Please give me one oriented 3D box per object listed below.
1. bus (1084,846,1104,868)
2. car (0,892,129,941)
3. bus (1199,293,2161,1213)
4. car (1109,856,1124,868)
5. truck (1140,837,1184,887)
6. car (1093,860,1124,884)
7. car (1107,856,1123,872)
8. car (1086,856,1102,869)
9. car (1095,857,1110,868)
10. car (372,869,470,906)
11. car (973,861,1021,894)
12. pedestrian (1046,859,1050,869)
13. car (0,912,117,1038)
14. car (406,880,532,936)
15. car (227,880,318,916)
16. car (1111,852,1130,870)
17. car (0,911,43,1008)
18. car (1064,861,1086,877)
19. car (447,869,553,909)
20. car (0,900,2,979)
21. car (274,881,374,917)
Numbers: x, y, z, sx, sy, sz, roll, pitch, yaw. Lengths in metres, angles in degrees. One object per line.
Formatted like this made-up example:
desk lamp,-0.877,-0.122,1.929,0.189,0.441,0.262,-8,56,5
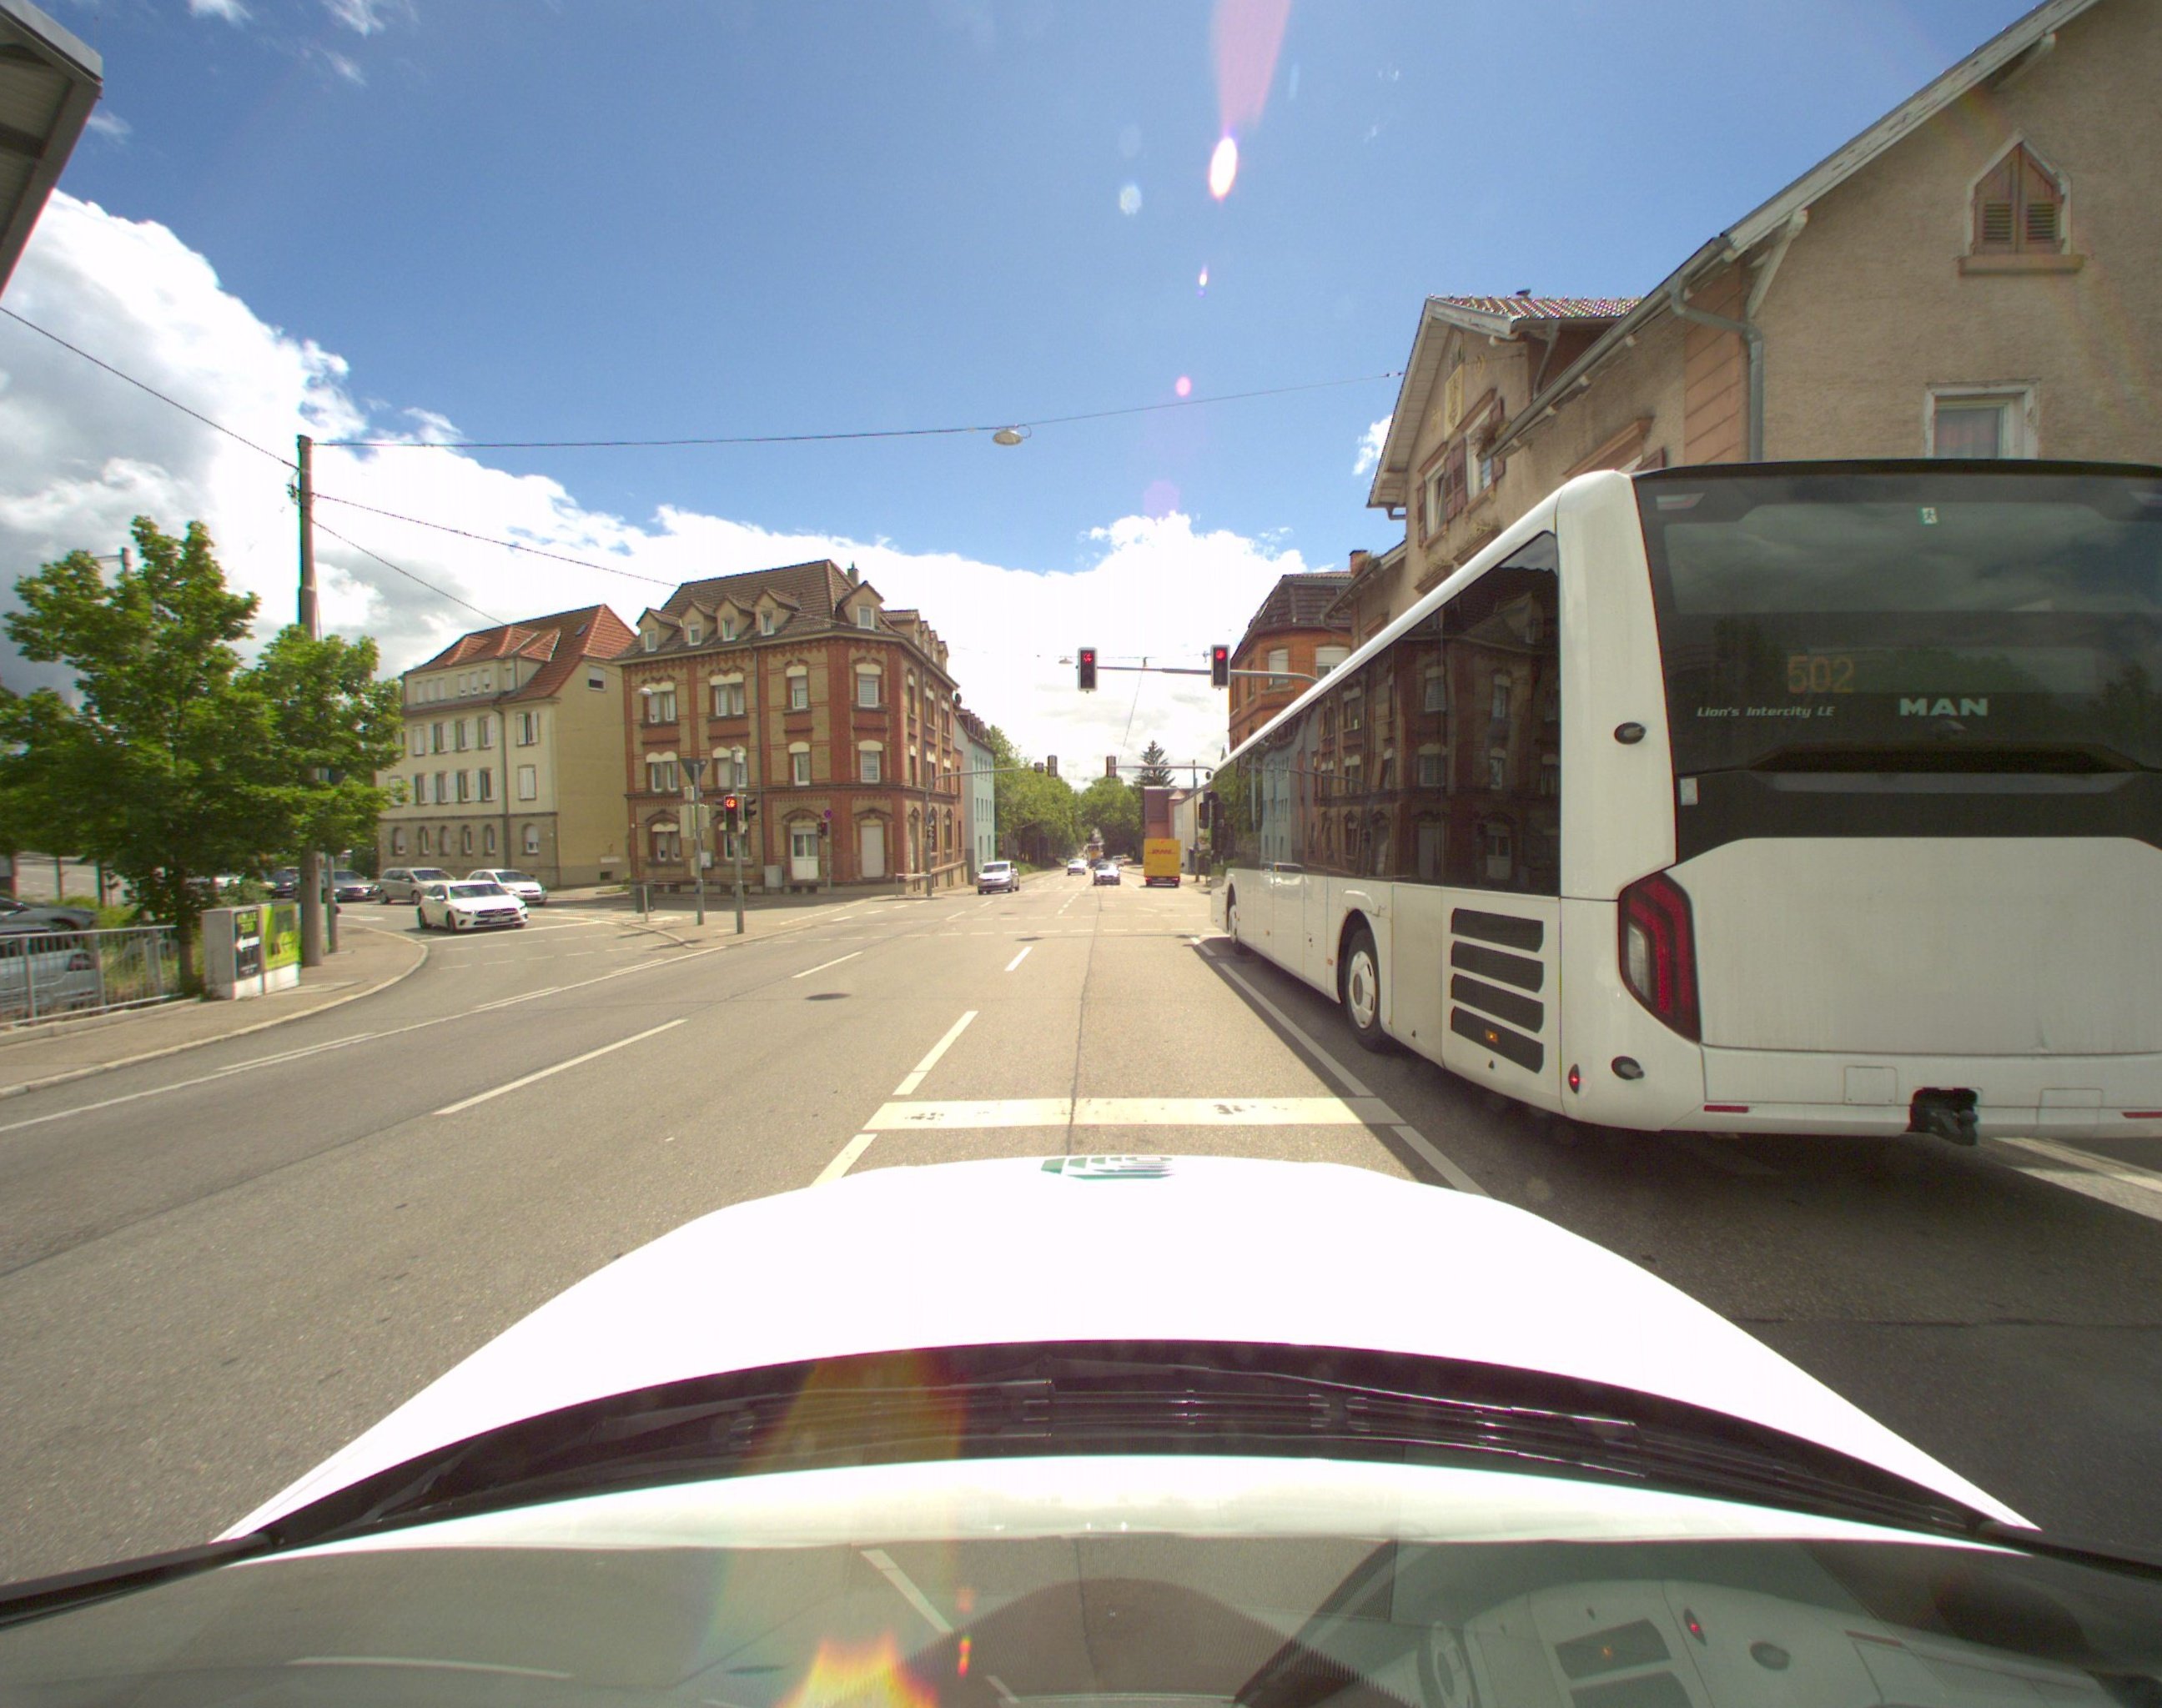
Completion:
bus,2.293,0.556,148.217,3.290,3.631,11.241,-2,0,0
car,-29.257,1.731,22.218,1.795,1.186,4.025,-1,0,31
bus,3.517,-0.343,9.357,2.893,3.510,12.492,0,-1,2
car,5.634,1.259,129.604,2.086,1.830,4.140,-1,0,-1
truck,5.057,0.507,50.965,2.529,2.913,6.581,0,-1,5
car,1.752,1.130,52.428,1.858,1.367,4.549,-2,0,2
car,4.031,1.185,96.030,1.812,1.784,4.002,-2,0,2
car,1.938,1.218,122.441,2.086,1.830,4.140,-1,0,-1
car,2.880,1.099,108.696,1.858,1.367,4.549,-2,0,2
car,-29.210,1.471,36.052,3.951,1.519,1.757,-1,0,24
car,-4.417,1.214,43.574,1.928,1.563,4.390,-2,0,2
pedestrian,-5.613,1.649,137.082,0.604,1.758,0.653,-2,0,0
car,-16.121,1.740,12.186,3.638,1.575,1.766,-1,-2,34
car,-18.248,1.542,24.219,4.334,1.447,1.875,-2,0,37
car,-40.029,2.133,40.302,4.291,1.586,2.012,-1,0,29
car,4.613,0.830,96.268,1.987,2.013,3.999,-2,0,0
car,-19.716,1.832,14.155,3.744,1.523,1.526,-1,0,30
car,-0.646,1.596,89.821,2.199,1.613,4.549,-2,0,2
car,-23.602,1.394,33.065,3.951,1.497,1.711,-1,0,24
car,-23.408,1.736,16.435,3.371,1.575,1.526,-1,0,30
car,-35.454,2.080,38.145,3.951,1.519,2.011,-1,0,24
